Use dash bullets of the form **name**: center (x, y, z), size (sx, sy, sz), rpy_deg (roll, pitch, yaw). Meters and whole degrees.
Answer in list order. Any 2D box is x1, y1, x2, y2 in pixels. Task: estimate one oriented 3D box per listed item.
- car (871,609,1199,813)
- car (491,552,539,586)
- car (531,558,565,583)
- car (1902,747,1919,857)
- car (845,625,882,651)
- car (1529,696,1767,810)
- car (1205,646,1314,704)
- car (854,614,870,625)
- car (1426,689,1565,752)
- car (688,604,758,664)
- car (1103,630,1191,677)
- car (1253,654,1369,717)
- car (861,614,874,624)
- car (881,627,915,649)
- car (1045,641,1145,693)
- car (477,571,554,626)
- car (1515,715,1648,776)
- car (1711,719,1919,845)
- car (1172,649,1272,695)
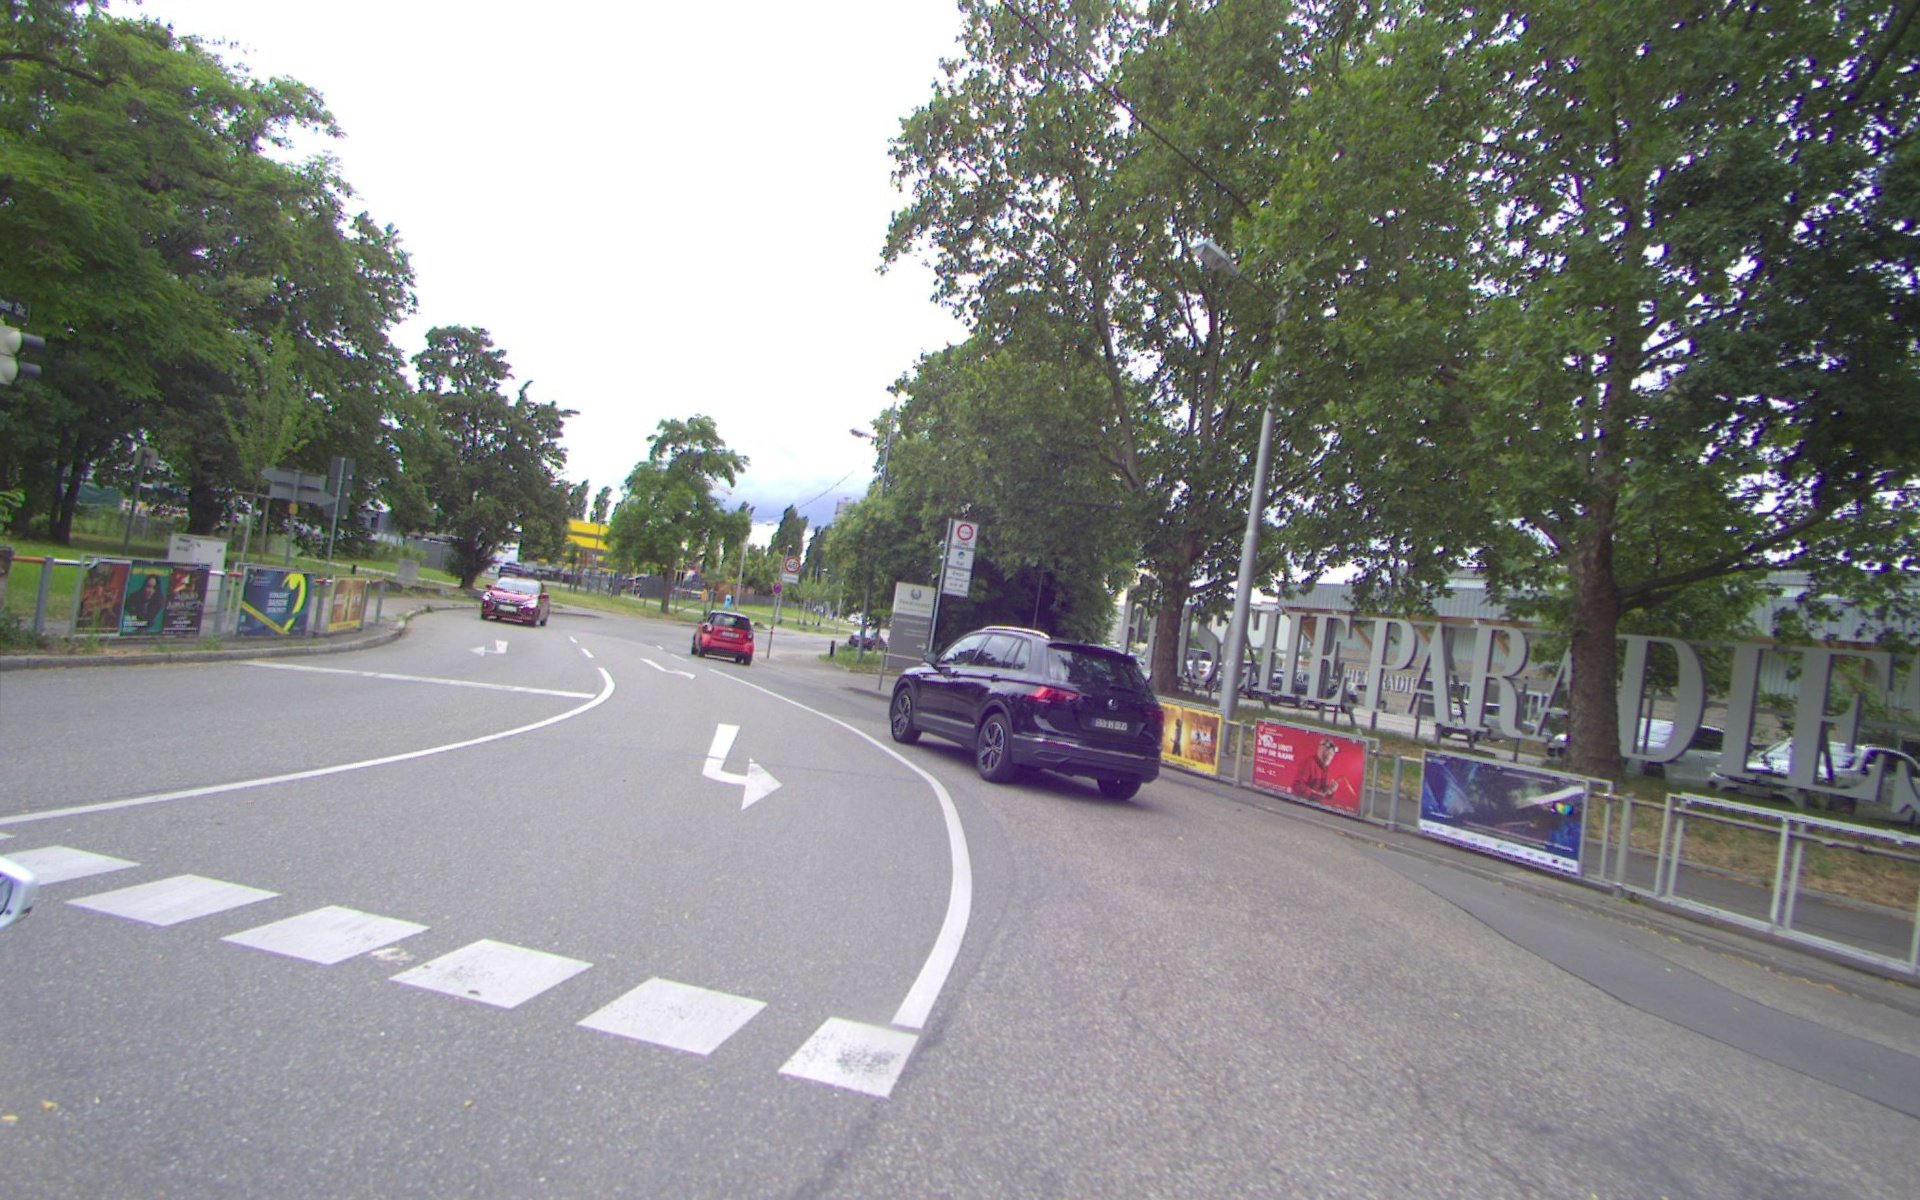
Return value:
- **car**: center (0.644, 1.151, 11.799), size (1.829, 1.653, 4.161), rpy_deg (11, -3, -25)
- **car**: center (-32.660, -2.238, 73.948), size (1.938, 2.036, 4.214), rpy_deg (9, -2, -8)
- **car**: center (-42.342, -2.998, 103.488), size (1.938, 2.036, 4.214), rpy_deg (9, -2, -8)
- **car**: center (16.534, 3.392, 15.415), size (3.953, 1.631, 1.582), rpy_deg (10, -1, -25)
- **car**: center (-6.742, 2.672, 70.848), size (1.685, 1.506, 3.376), rpy_deg (9, -2, 8)
- **car**: center (14.440, 3.216, 21.118), size (4.469, 1.631, 1.874), rpy_deg (10, -2, -23)
- **car**: center (14.273, 3.564, 47.877), size (4.584, 2.037, 1.988), rpy_deg (9, -1, -24)
- **car**: center (-15.626, 3.072, 160.140), size (2.013, 1.555, 3.935), rpy_deg (5, -1, -10)
- **car**: center (19.532, 4.397, 36.696), size (4.584, 1.579, 1.988), rpy_deg (9, -1, -24)
- **car**: center (-7.541, 1.052, 31.852), size (1.694, 1.482, 3.007), rpy_deg (9, -1, -19)
- **car**: center (11.301, 3.246, 60.925), size (4.765, 2.037, 1.988), rpy_deg (9, -1, -24)
- **car**: center (15.579, 3.810, 44.661), size (4.584, 2.037, 1.988), rpy_deg (9, -1, -24)
- **car**: center (-16.945, 3.504, 183.581), size (2.014, 1.552, 3.938), rpy_deg (10, -2, -8)
- **car**: center (-4.944, 3.072, 80.234), size (1.684, 1.422, 3.377), rpy_deg (9, -2, 12)
- **car**: center (5.475, 2.715, 40.654), size (3.689, 1.522, 1.471), rpy_deg (9, -1, -28)
- **car**: center (-14.287, -0.053, 32.510), size (1.708, 1.483, 3.821), rpy_deg (8, -2, -18)
- **car**: center (23.830, 5.592, 38.587), size (4.584, 1.579, 1.988), rpy_deg (9, -1, -24)
- **car**: center (15.603, 3.278, 17.948), size (4.267, 1.631, 1.582), rpy_deg (10, -1, -25)
- **car**: center (13.315, 3.678, 51.124), size (4.584, 1.576, 1.988), rpy_deg (9, -1, -24)
